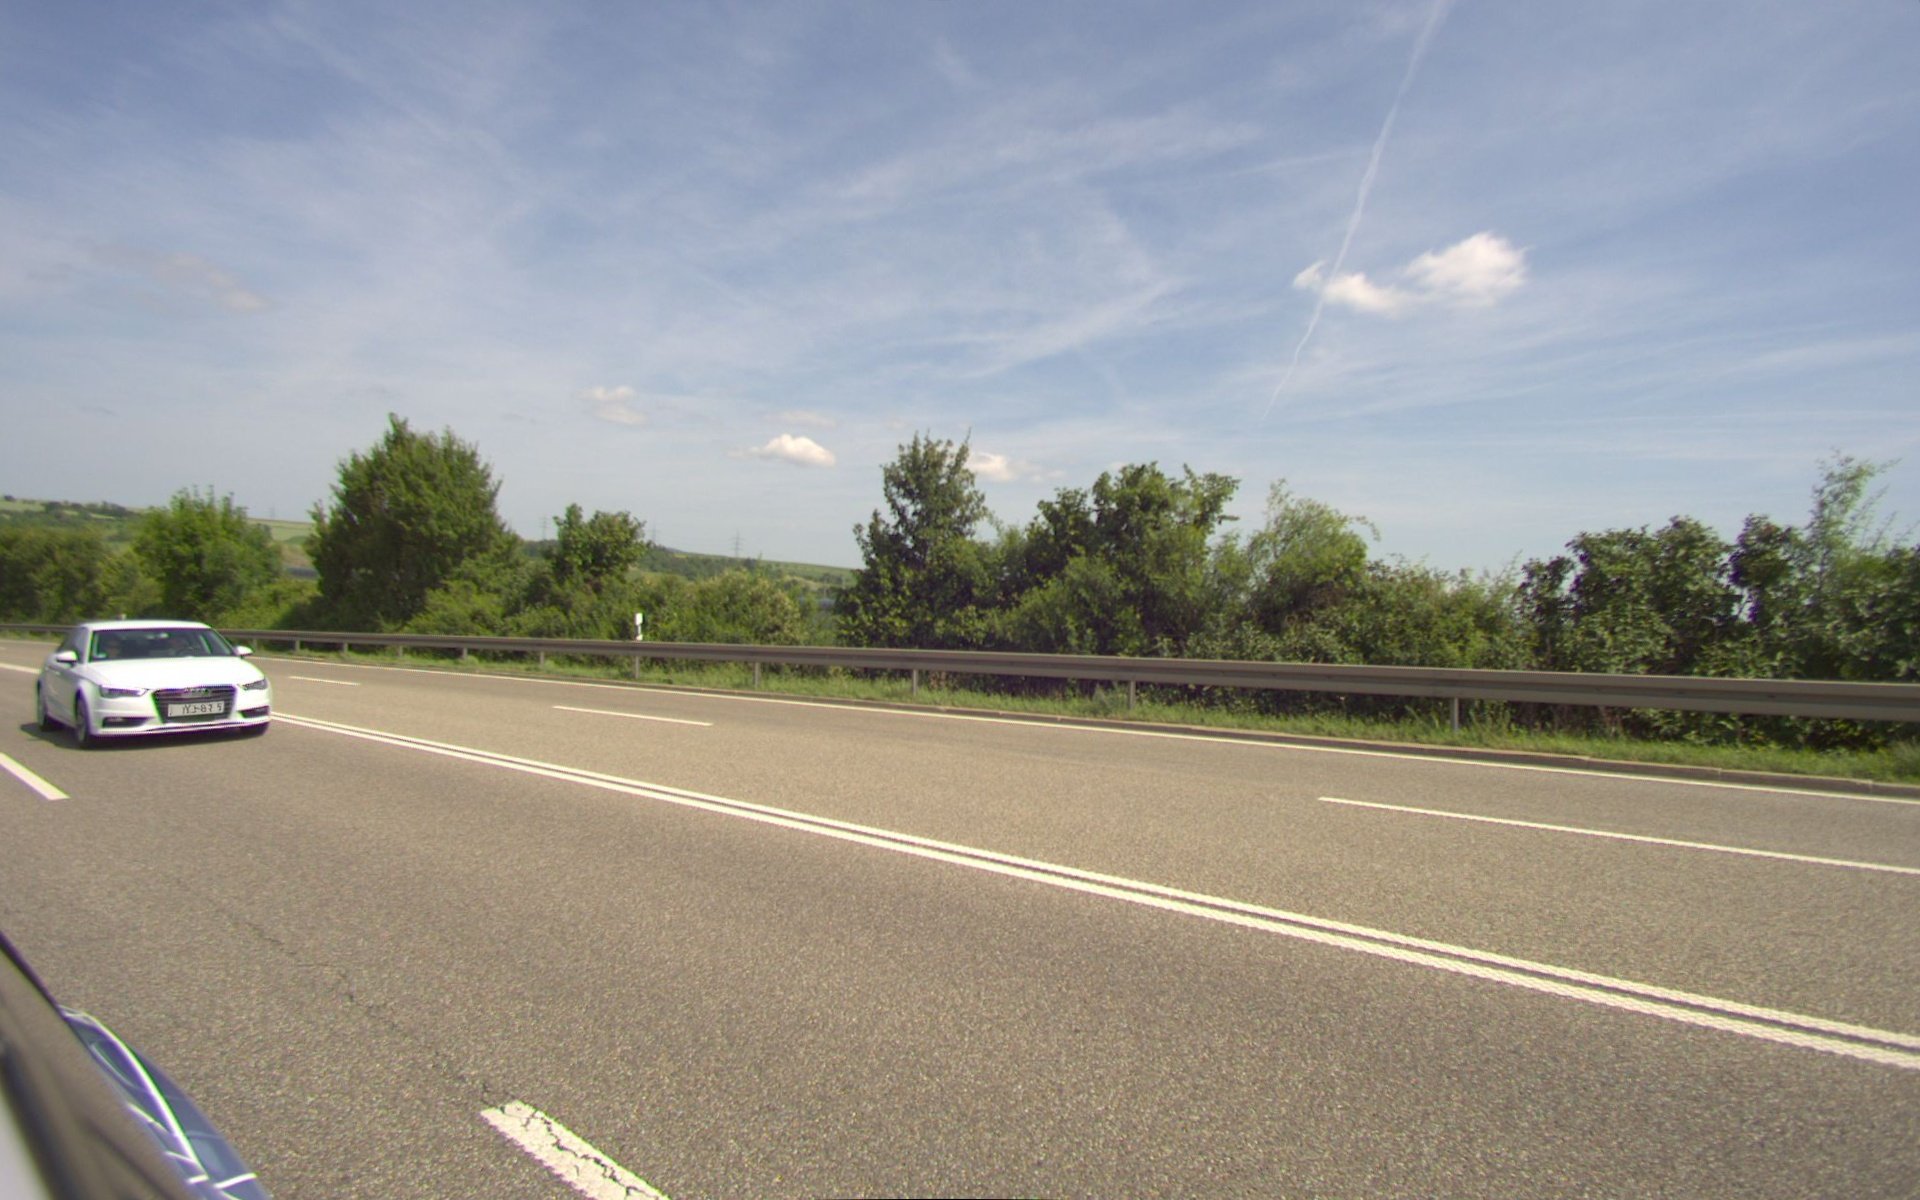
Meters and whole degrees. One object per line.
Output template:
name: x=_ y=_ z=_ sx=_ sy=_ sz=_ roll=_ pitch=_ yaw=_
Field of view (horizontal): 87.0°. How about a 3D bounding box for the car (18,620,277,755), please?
car: x=-10.271 y=0.953 z=12.659 sx=4.599 sy=1.386 sz=1.686 roll=-1 pitch=-1 yaw=40
